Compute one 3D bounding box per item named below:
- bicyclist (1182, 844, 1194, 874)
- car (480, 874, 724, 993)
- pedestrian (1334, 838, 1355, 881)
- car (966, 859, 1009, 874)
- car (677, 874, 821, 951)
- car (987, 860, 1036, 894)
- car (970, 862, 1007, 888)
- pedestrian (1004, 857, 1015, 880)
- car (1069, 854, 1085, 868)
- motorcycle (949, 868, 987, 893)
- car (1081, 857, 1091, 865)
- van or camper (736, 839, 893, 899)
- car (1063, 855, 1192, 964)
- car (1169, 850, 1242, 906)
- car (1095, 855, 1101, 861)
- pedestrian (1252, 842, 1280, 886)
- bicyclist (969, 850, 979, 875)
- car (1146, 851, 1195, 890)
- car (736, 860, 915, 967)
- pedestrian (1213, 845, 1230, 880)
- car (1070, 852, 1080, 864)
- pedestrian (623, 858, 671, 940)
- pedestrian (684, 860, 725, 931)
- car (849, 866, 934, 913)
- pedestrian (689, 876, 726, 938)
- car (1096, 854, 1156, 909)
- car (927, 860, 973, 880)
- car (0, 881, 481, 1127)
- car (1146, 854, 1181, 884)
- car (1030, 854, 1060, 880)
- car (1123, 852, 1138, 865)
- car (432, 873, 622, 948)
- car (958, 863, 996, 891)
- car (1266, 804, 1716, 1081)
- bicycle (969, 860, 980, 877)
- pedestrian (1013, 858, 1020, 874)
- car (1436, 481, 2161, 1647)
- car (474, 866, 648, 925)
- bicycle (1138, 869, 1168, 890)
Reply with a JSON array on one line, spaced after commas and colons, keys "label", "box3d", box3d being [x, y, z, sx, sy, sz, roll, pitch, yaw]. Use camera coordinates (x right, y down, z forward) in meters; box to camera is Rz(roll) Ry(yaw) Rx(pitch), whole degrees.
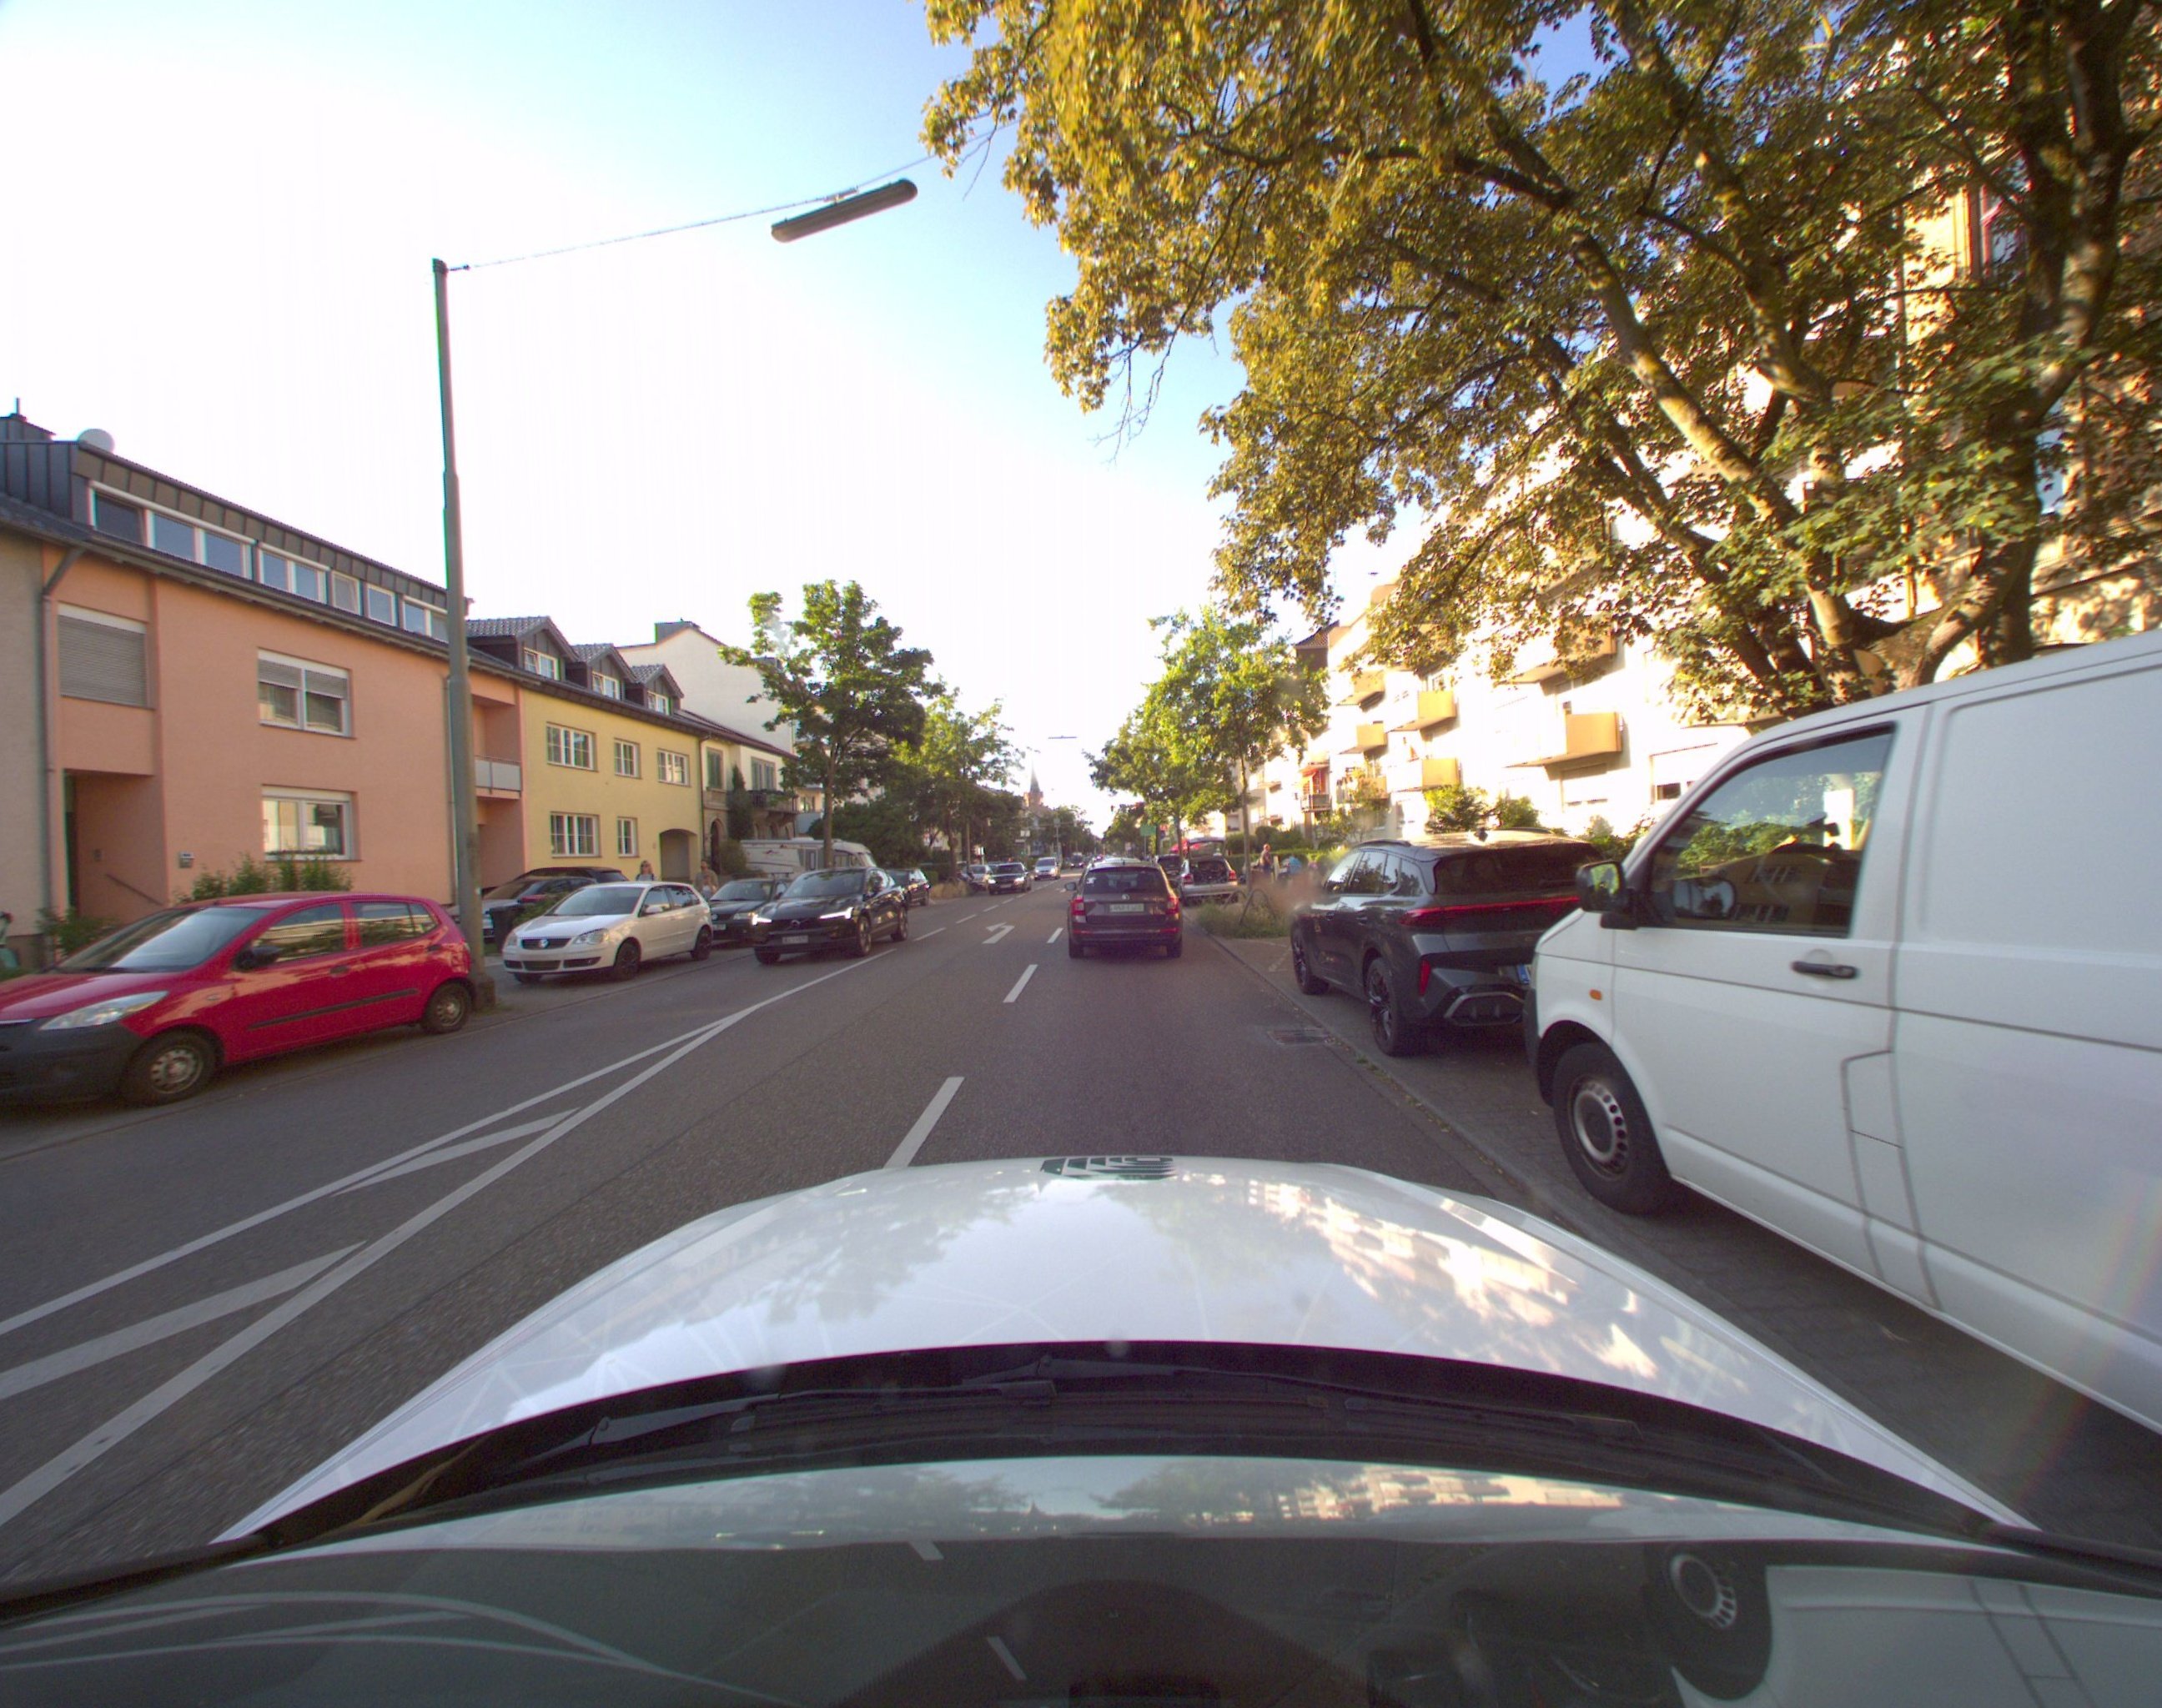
[{"label": "bicyclist", "box3d": [6.622, 0.293, 50.406, 0.579, 1.789, 0.852, -2, 0, 2]}, {"label": "car", "box3d": [-7.572, 1.156, 13.363, 1.587, 1.523, 3.891, -2, 0, 1]}, {"label": "pedestrian", "box3d": [10.230, 0.232, 31.660, 0.475, 1.640, 0.533, -3, -1, -17]}, {"label": "car", "box3d": [-10.657, 1.462, 93.386, 4.617, 1.535, 1.862, -2, 0, 1]}, {"label": "car", "box3d": [-7.234, 1.225, 18.128, 1.537, 1.396, 3.667, -2, 0, 2]}, {"label": "car", "box3d": [-3.392, 1.092, 40.428, 1.754, 1.452, 4.536, -5, 0, 2]}, {"label": "car", "box3d": [-5.797, 1.310, 51.468, 1.642, 1.517, 4.076, -1, 0, 2]}, {"label": "pedestrian", "box3d": [-6.365, 1.300, 72.458, 0.777, 1.987, 0.821, -3, -1, 2]}, {"label": "car", "box3d": [-0.592, 1.017, 117.271, 1.986, 1.908, 4.965, -5, 0, 2]}, {"label": "motorcycle", "box3d": [-5.975, 1.413, 43.126, 2.028, 1.265, 0.772, -3, -1, 40]}, {"label": "car", "box3d": [1.010, 1.345, 158.885, 1.823, 1.579, 4.002, -3, 0, 2]}, {"label": "van or camper", "box3d": [-12.799, 0.725, 39.396, 6.774, 2.773, 2.352, 0, 0, 0]}, {"label": "car", "box3d": [0.713, 0.787, 13.546, 1.766, 1.489, 4.312, -1, 0, 1]}, {"label": "car", "box3d": [3.845, 0.702, 25.798, 1.702, 1.480, 4.270, -4, 0, 2]}, {"label": "car", "box3d": [5.390, 1.227, 257.270, 1.986, 2.013, 4.002, -3, 0, 2]}, {"label": "pedestrian", "box3d": [7.075, 0.397, 31.190, 0.748, 1.640, 0.700, -3, -1, 38]}, {"label": "bicyclist", "box3d": [-7.290, 0.560, 55.507, 0.467, 1.663, 0.552, -3, 0, 1]}, {"label": "car", "box3d": [4.127, 0.733, 38.196, 1.849, 1.581, 4.015, -4, 0, 2]}, {"label": "car", "box3d": [-4.497, 0.972, 15.018, 1.829, 1.570, 4.001, -4, -1, 2]}, {"label": "pedestrian", "box3d": [7.230, 0.447, 41.975, 0.660, 1.749, 0.773, -4, -1, 3]}, {"label": "car", "box3d": [-1.291, 0.910, 186.109, 1.986, 2.478, 4.002, -3, 0, 2]}, {"label": "pedestrian", "box3d": [-9.772, 0.998, 18.344, 0.710, 1.792, 0.506, -3, -1, 4]}, {"label": "pedestrian", "box3d": [-9.798, 1.079, 21.195, 0.710, 1.792, 0.572, -3, -1, 4]}, {"label": "car", "box3d": [-6.774, 1.216, 29.578, 1.860, 1.494, 4.519, -1, 0, 2]}, {"label": "pedestrian", "box3d": [-9.339, 1.309, 20.376, 0.587, 1.496, 0.543, -3, -1, 4]}, {"label": "car", "box3d": [1.400, 0.814, 25.642, 1.730, 1.571, 4.003, -1, 0, 3]}, {"label": "car", "box3d": [-14.034, 1.712, 87.414, 4.617, 1.812, 1.862, -3, 0, 1]}, {"label": "car", "box3d": [-7.487, 1.083, 7.195, 1.585, 1.523, 3.440, -2, 0, 5]}, {"label": "car", "box3d": [4.401, 0.775, 43.818, 1.696, 1.450, 4.018, -4, 0, 4]}, {"label": "car", "box3d": [-2.754, 0.966, 62.928, 1.799, 1.804, 4.747, -4, 0, 2]}, {"label": "car", "box3d": [6.919, 0.619, 113.213, 1.984, 1.772, 4.005, -1, 0, 5]}, {"label": "car", "box3d": [-12.794, 1.253, 19.116, 1.658, 1.409, 3.756, -3, 0, 3]}, {"label": "car", "box3d": [-5.963, 1.299, 47.036, 1.587, 1.470, 3.805, 0, 0, 2]}, {"label": "car", "box3d": [3.088, 0.567, 7.324, 1.849, 1.603, 4.313, -5, 0, 1]}, {"label": "bicycle", "box3d": [-7.277, 0.985, 55.608, 0.484, 1.064, 1.534, -2, 0, 1]}, {"label": "pedestrian", "box3d": [-7.129, 1.311, 90.005, 0.613, 1.797, 0.504, -3, -1, 2]}, {"label": "car", "box3d": [2.884, 0.361, 2.060, 1.897, 2.103, 4.640, -2, 0, 0]}, {"label": "car", "box3d": [-15.375, 1.217, 24.223, 3.971, 1.636, 1.867, 0, 0, 2]}, {"label": "bicycle", "box3d": [4.735, 1.658, 53.339, 1.824, 1.157, 0.685, -5, -1, 8]}]
